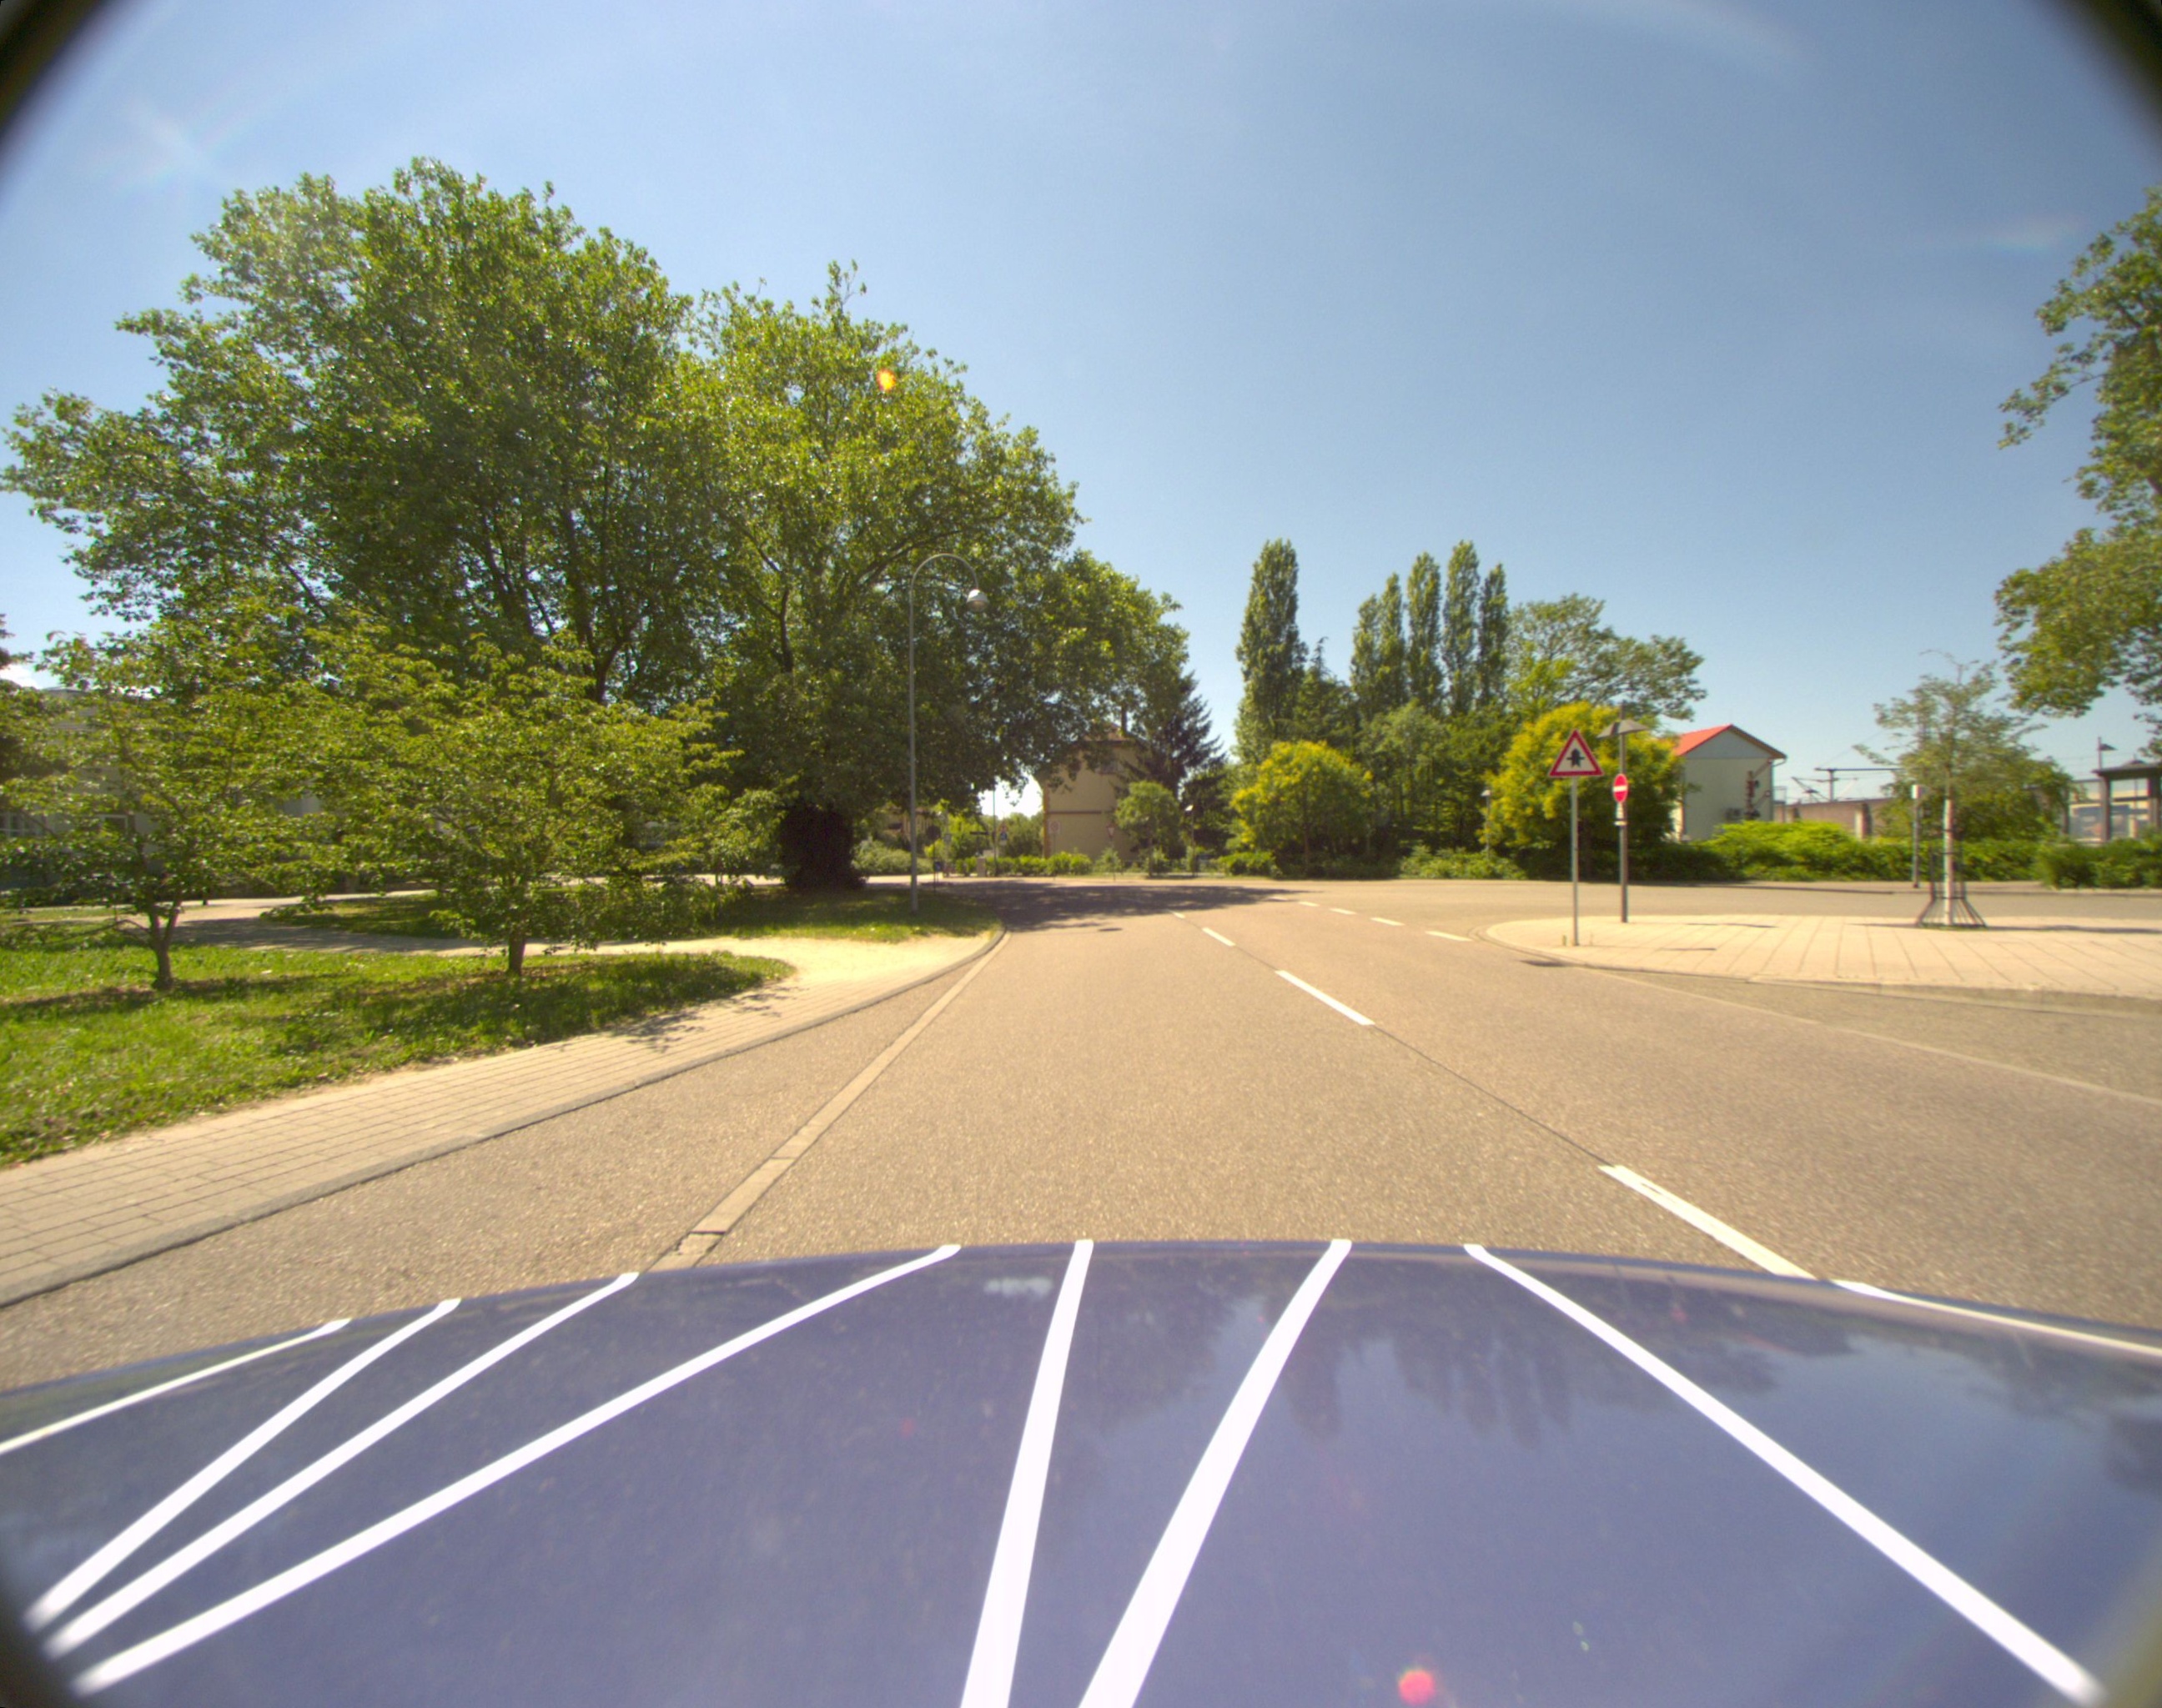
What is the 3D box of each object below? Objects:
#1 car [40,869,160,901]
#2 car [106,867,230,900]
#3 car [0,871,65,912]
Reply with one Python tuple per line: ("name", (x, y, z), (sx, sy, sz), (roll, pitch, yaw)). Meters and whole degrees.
("car", (-45.298, 1.410, 35.094), (3.992, 1.383, 2.002), (-1, 0, 16))
("car", (-45.492, 1.449, 37.907), (3.995, 1.559, 2.001), (-1, 0, 5))
("car", (-42.215, 1.450, 28.813), (1.751, 1.515, 4.003), (0, 0, 12))
